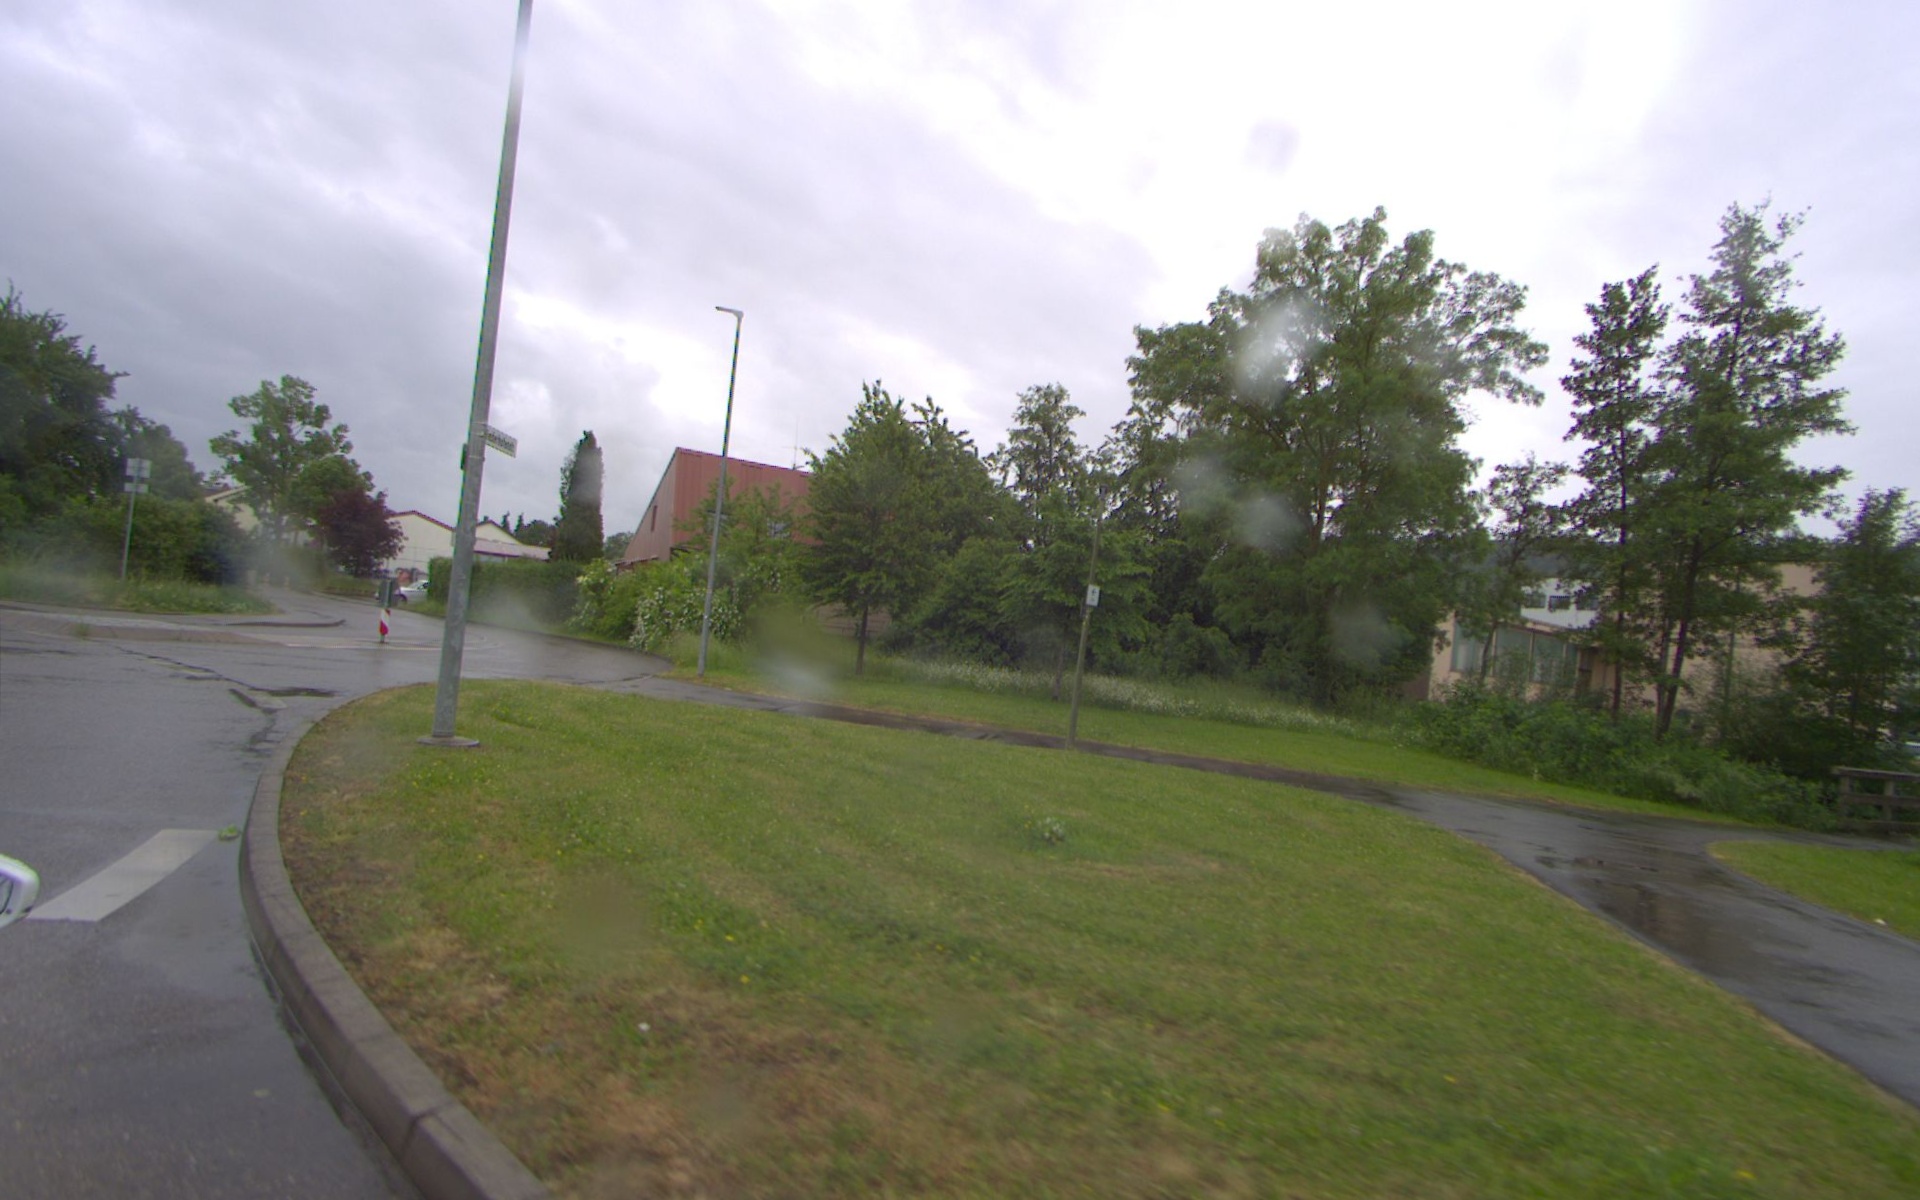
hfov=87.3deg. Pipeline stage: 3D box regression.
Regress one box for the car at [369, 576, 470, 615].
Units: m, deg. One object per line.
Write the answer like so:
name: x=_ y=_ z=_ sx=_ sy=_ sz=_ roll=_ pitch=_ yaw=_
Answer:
car: x=-26.832 y=-0.231 z=49.992 sx=1.762 sy=1.389 sz=3.979 roll=4 pitch=-4 yaw=45
